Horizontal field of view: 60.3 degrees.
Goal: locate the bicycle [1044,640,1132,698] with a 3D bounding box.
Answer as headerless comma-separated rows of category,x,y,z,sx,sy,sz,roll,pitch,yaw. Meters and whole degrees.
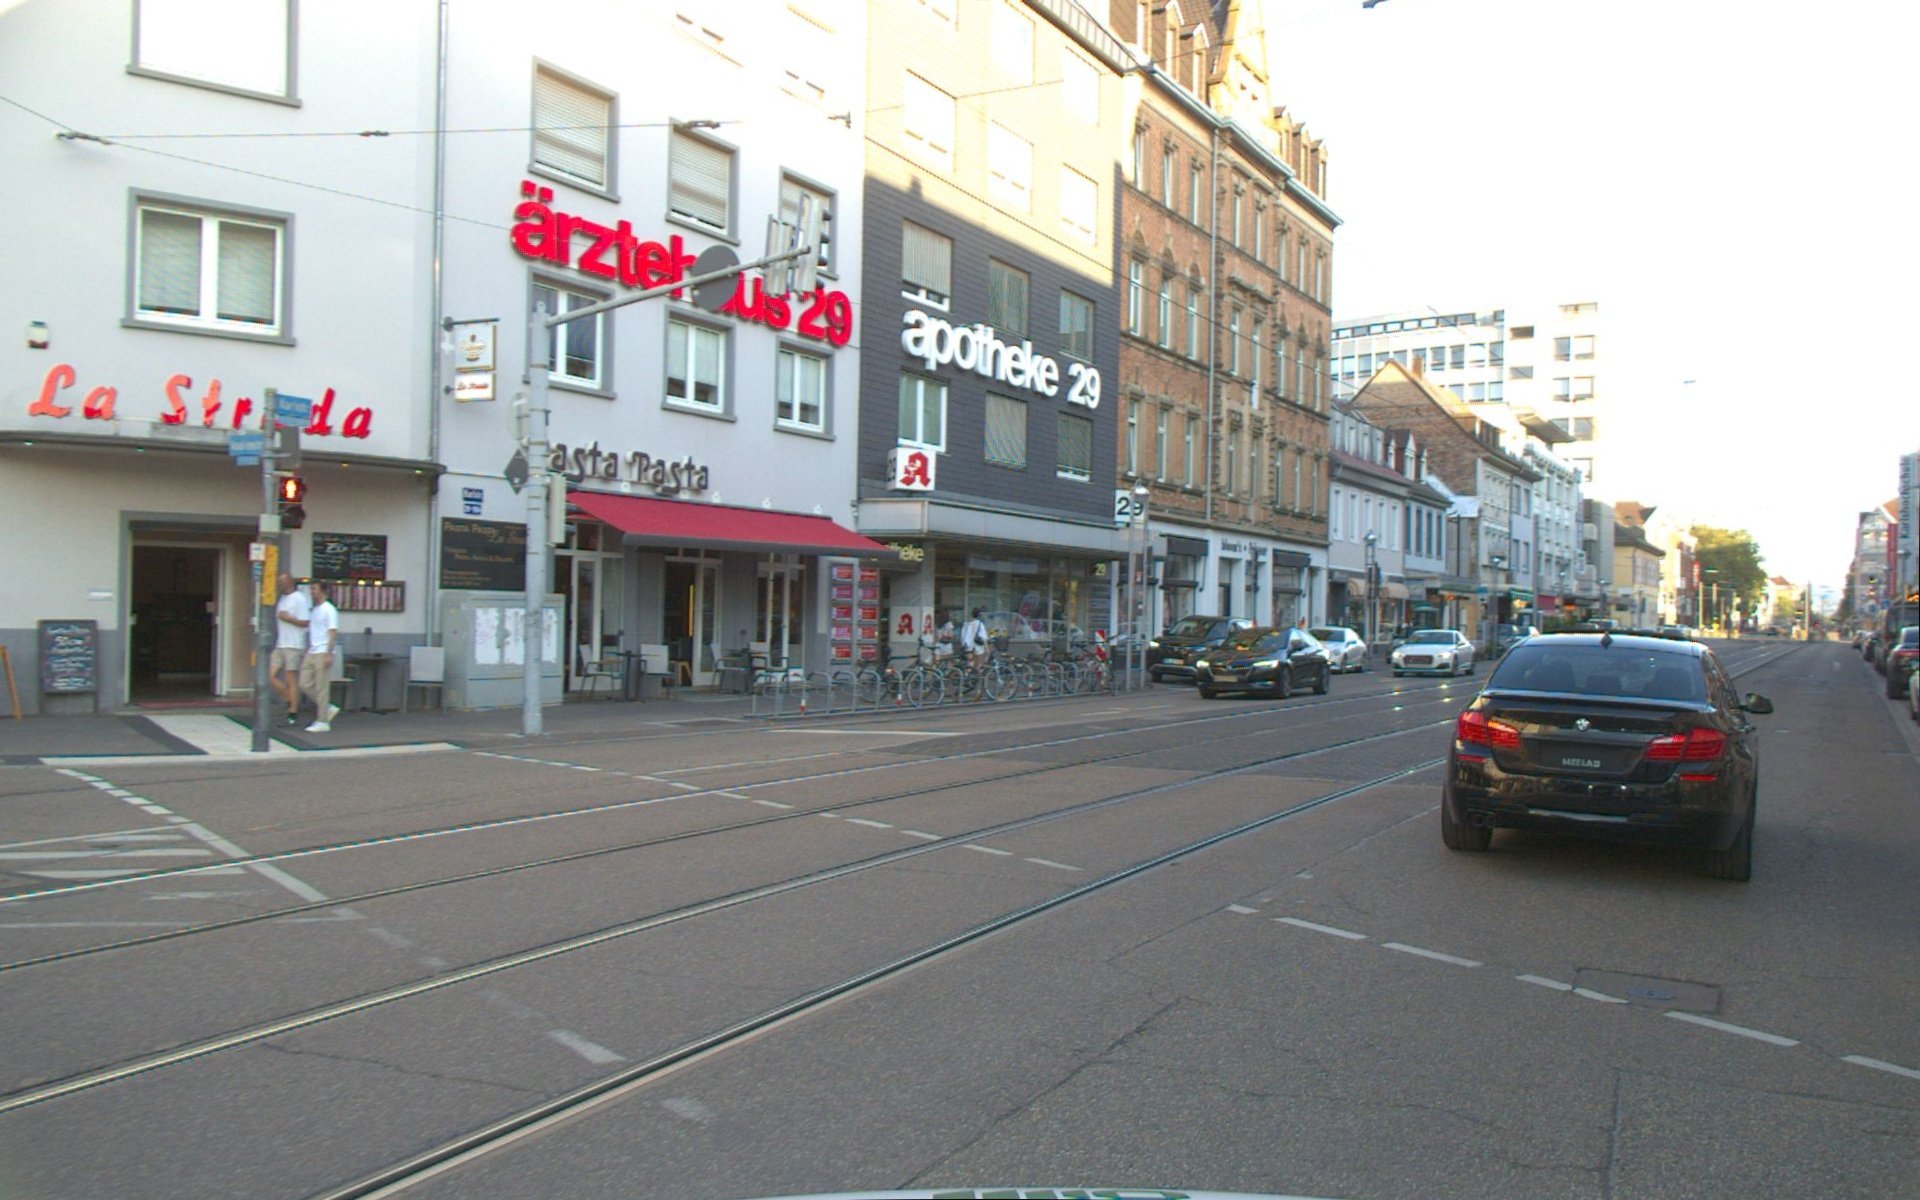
bicycle,2.713,1.457,35.187,1.797,1.065,0.488,3,2,30

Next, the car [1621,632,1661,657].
car,42.435,2.752,103.029,1.954,1.478,4.644,1,-1,26

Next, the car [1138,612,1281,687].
car,6.350,1.209,41.671,1.895,1.704,4.635,2,0,31

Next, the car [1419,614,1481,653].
car,19.725,1.328,66.512,1.568,1.465,3.805,2,0,29

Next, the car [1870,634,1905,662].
car,50.858,2.638,90.719,1.529,1.467,3.703,-2,-2,28

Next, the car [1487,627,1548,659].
car,27.418,2.101,81.209,1.956,1.478,4.812,1,-1,30

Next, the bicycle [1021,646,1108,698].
bicycle,2.175,1.498,34.535,1.771,0.928,0.455,3,2,30

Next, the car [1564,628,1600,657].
car,39.265,2.675,104.326,1.829,1.714,3.997,1,-1,24

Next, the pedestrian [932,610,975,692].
pedestrian,-0.137,1.053,34.658,0.669,1.690,0.623,1,0,29

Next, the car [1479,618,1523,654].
car,25.061,1.662,76.604,1.449,1.605,2.790,0,-1,29

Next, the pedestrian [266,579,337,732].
pedestrian,-7.980,0.660,20.039,0.594,1.810,0.629,2,-1,-39

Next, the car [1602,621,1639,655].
car,44.200,2.538,110.640,1.954,2.194,4.906,1,-1,26

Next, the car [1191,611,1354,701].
car,6.697,1.173,35.006,1.956,1.758,4.718,-2,-2,30

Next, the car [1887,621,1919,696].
car,23.973,1.419,40.663,1.956,1.758,4.557,-1,-2,29

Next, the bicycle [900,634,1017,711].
bicycle,-0.031,1.299,30.076,2.073,1.245,0.552,3,0,30

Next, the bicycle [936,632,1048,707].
bicycle,0.594,1.301,31.227,2.073,1.245,0.552,4,1,30

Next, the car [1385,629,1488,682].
car,14.444,1.643,50.000,1.956,1.478,4.647,1,-1,30

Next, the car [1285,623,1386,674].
car,11.834,1.508,51.953,1.834,1.478,4.601,1,-1,30

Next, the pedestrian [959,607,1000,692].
pedestrian,0.406,1.027,34.355,0.608,1.729,0.601,1,0,29

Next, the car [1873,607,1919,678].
car,34.891,1.551,60.943,2.052,2.498,6.022,-1,-1,28

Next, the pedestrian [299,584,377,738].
pedestrian,-7.358,0.707,19.557,0.662,1.775,0.629,2,-1,-39

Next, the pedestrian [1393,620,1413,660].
pedestrian,18.619,1.676,69.553,0.650,1.673,0.693,1,-1,29

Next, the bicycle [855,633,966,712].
bicycle,-0.872,1.248,28.795,1.856,1.232,0.552,3,0,30

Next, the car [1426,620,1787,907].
car,4.642,0.982,11.619,1.915,1.524,4.461,2,-1,25

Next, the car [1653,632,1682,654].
car,50.464,3.040,117.927,1.658,1.478,4.460,1,-1,26
